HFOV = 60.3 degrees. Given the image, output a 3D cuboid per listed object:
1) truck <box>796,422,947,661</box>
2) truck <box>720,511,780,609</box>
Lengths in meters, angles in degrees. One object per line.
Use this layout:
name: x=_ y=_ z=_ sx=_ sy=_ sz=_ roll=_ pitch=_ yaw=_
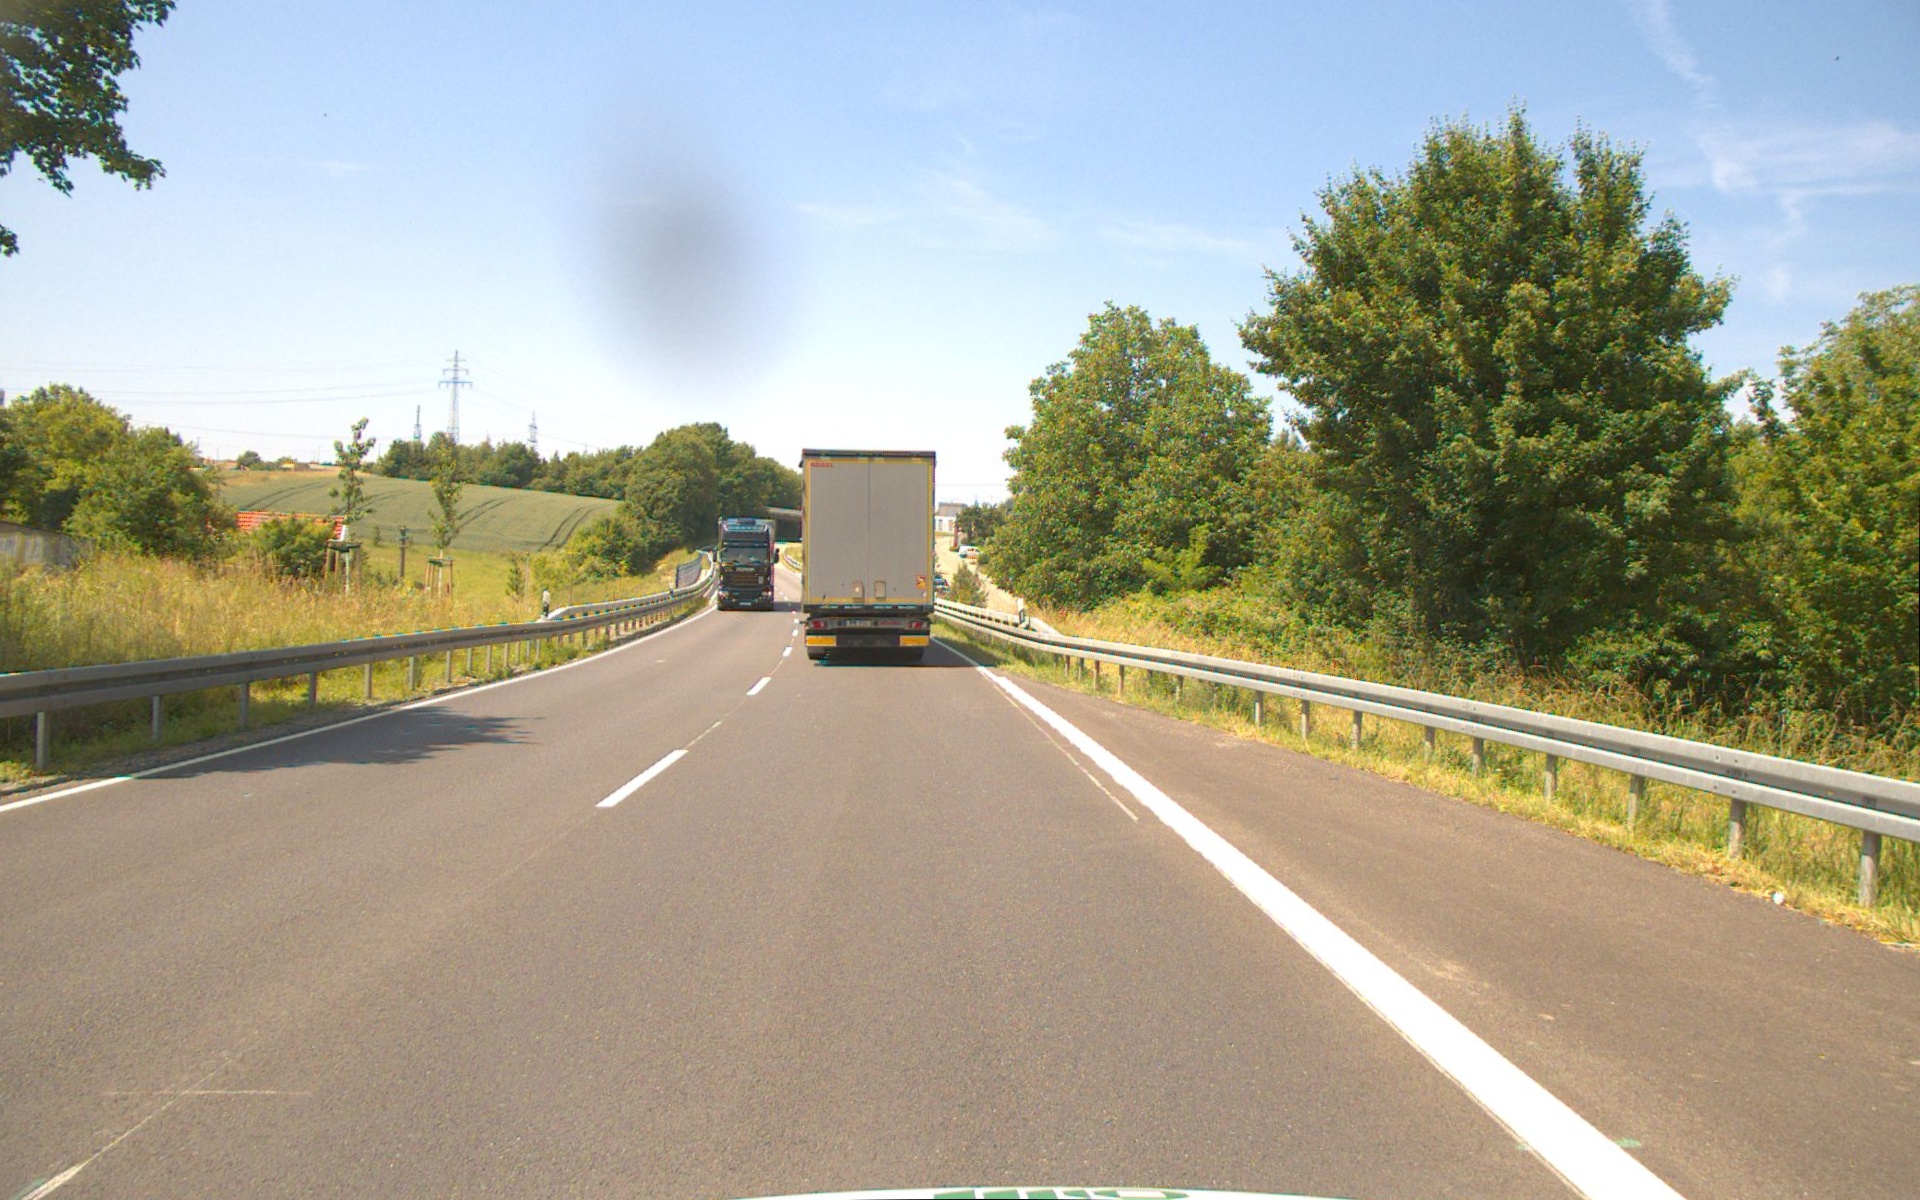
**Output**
truck: x=-2.111 y=-1.152 z=35.757 sx=2.810 sy=4.435 sz=9.778 roll=0 pitch=1 yaw=-6
truck: x=-9.491 y=-1.799 z=75.124 sx=2.397 sy=4.268 sz=5.644 roll=0 pitch=1 yaw=-4
